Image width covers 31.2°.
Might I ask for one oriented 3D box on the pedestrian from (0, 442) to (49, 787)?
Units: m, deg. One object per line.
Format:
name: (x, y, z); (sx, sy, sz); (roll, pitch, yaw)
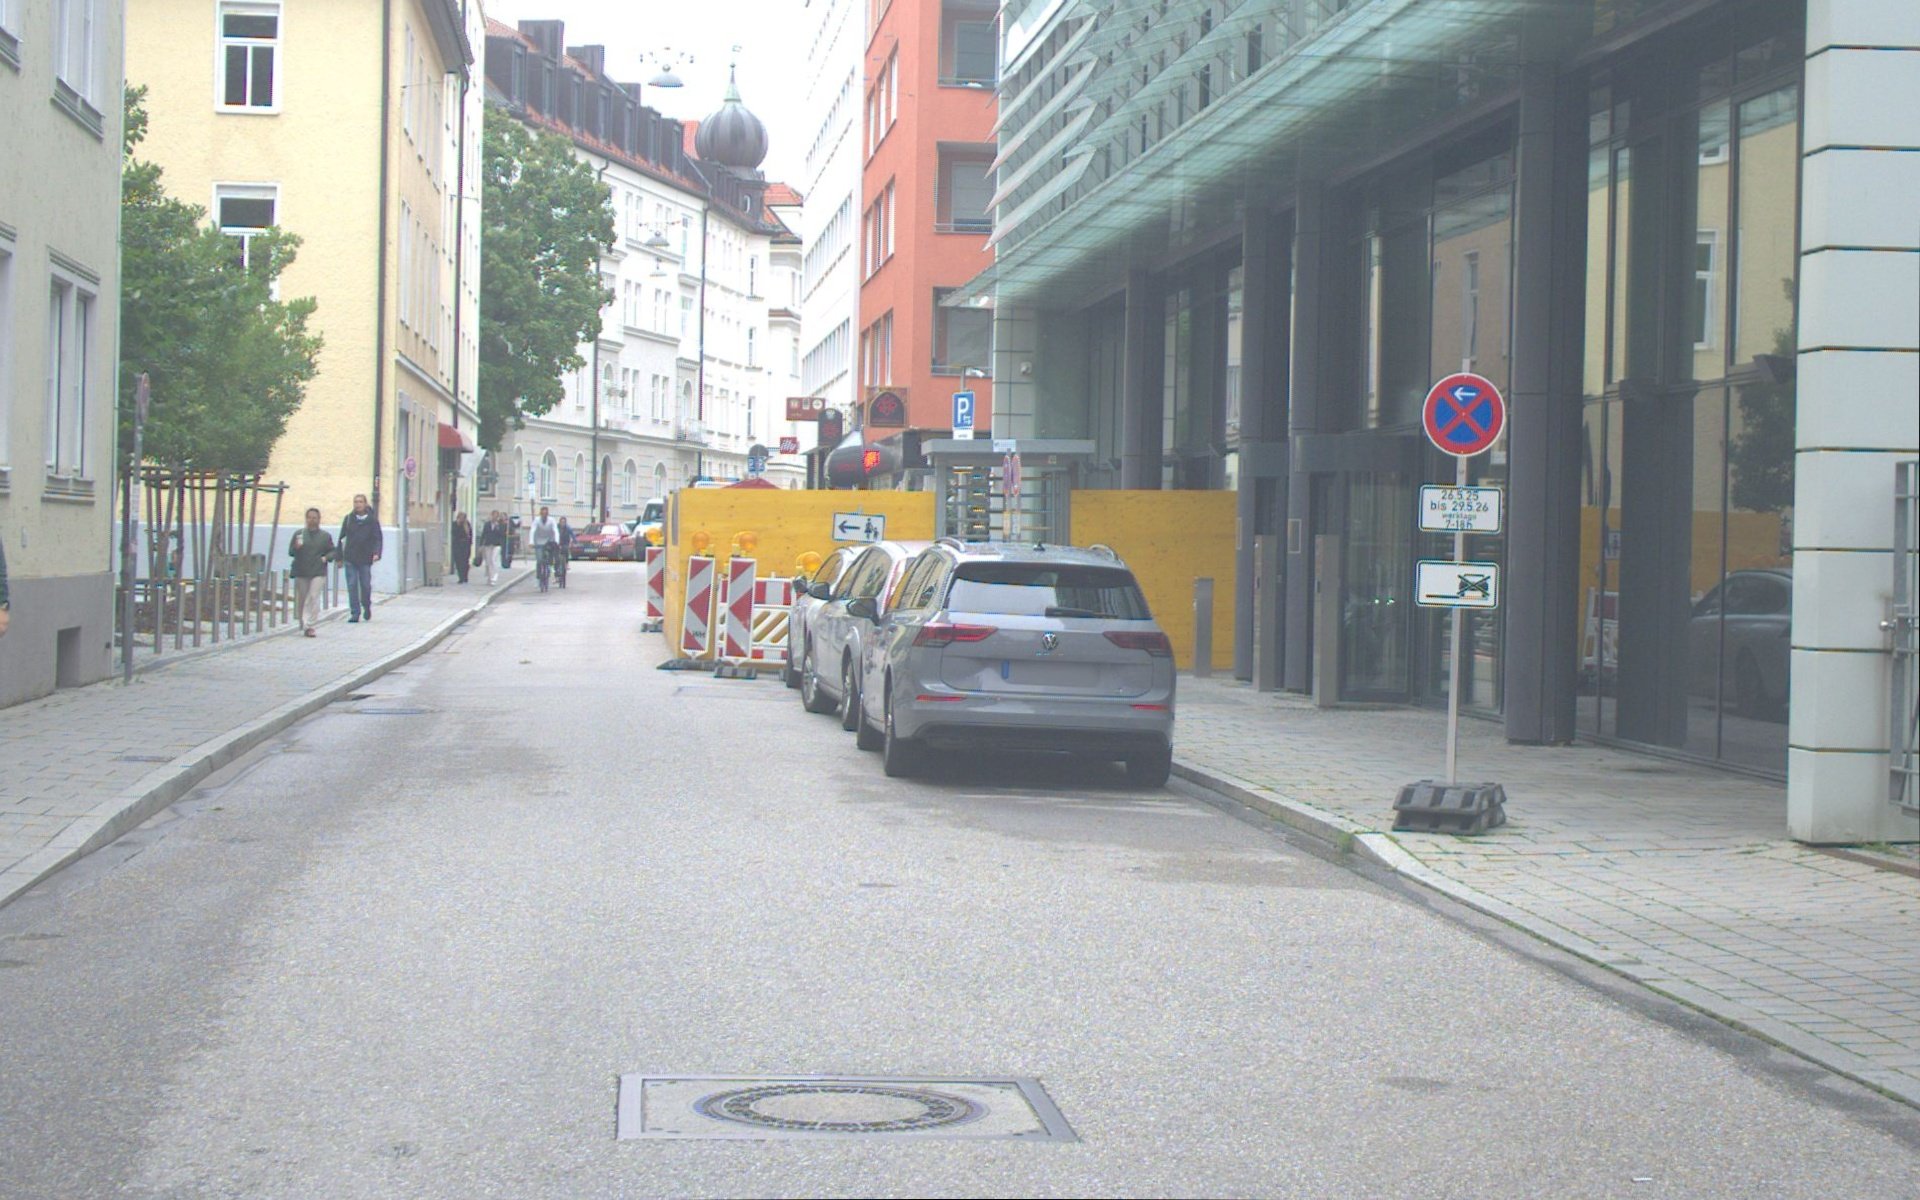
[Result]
pedestrian: (-4.953, 0.045, 16.819); (0.712, 1.660, 0.930); (4, 1, -6)

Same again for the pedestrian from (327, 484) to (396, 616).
pedestrian: (-8.704, -0.733, 50.054); (0.867, 1.875, 1.135); (2, 1, -7)

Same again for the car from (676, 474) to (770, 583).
car: (-5.849, -1.760, 84.307); (1.993, 2.528, 4.976); (2, 1, -7)

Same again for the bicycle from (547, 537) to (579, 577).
bicycle: (-9.157, -0.996, 79.425); (0.707, 0.902, 1.810); (1, 1, -6)

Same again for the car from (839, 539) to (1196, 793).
car: (0.262, 0.348, 22.039); (1.707, 1.427, 4.330); (1, 1, -6)

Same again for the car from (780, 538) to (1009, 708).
car: (-0.686, 0.170, 32.451); (1.707, 1.409, 4.510); (3, 1, -6)

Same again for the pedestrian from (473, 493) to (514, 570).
pedestrian: (-10.462, -1.542, 77.158); (0.839, 1.695, 0.803); (2, 1, -6)

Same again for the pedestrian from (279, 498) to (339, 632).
pedestrian: (-8.285, -0.443, 43.794); (0.647, 1.670, 0.724); (2, 1, -7)

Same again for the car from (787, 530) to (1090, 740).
car: (-0.256, 0.222, 27.308); (1.707, 1.462, 4.238); (3, 1, -9)

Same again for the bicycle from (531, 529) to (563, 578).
bicycle: (-9.025, -1.028, 75.212); (0.661, 1.035, 2.005); (1, 1, -6)

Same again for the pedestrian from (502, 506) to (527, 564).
pedestrian: (-12.964, -1.896, 100.051); (0.634, 1.669, 0.518); (2, 1, -6)

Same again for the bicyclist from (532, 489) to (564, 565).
bicyclist: (-9.006, -1.590, 75.217); (0.659, 1.637, 0.895); (1, 1, -6)

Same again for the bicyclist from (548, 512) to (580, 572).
bicyclist: (-9.144, -1.337, 79.397); (0.707, 1.366, 0.813); (1, 1, -6)

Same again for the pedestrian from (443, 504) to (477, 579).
pedestrian: (-11.250, -1.314, 77.344); (0.670, 1.642, 0.762); (2, 1, -6)
